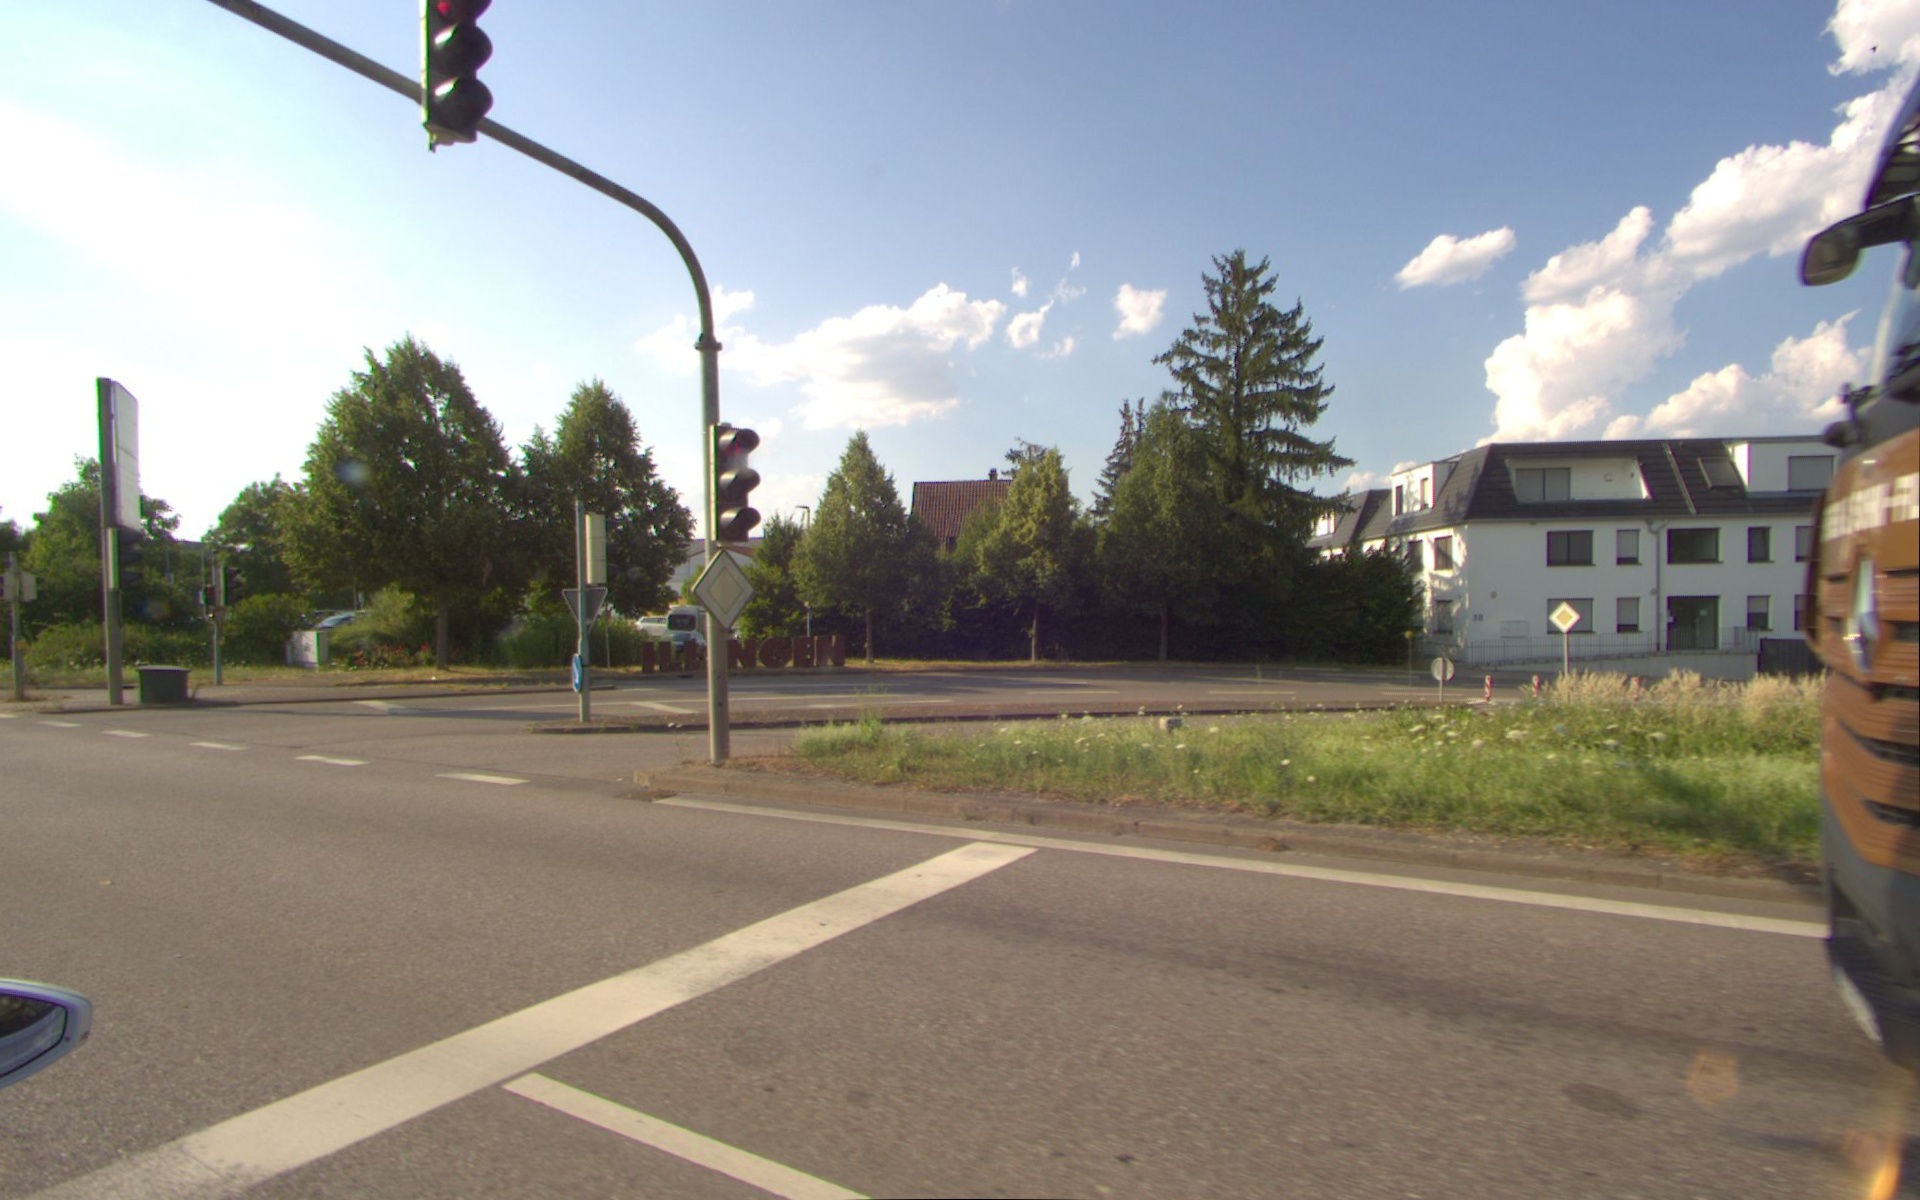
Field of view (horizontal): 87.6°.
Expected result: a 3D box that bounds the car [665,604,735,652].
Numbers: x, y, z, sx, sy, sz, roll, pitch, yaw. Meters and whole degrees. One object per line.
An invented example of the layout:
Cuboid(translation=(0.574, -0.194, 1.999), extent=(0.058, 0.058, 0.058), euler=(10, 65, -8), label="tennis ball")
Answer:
Cuboid(translation=(-14.540, 1.606, 56.317), extent=(1.961, 2.538, 5.141), euler=(-1, -2, 8), label="car")

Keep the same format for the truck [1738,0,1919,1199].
Cuboid(translation=(5.307, -0.643, 1.231), extent=(6.570, 4.094, 2.527), euler=(-2, -2, 33), label="truck")

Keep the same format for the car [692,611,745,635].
Cuboid(translation=(-16.315, 1.584, 67.763), extent=(3.190, 1.570, 1.566), euler=(-1, -2, -2), label="car")

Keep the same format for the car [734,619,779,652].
Cuboid(translation=(-12.912, 2.254, 63.650), extent=(1.425, 1.978, 4.000), euler=(-1, -2, 11), label="car")

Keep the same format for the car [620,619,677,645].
Cuboid(translation=(-19.639, 2.031, 63.093), extent=(3.071, 1.528, 1.579), euler=(-1, -2, 16), label="car")
